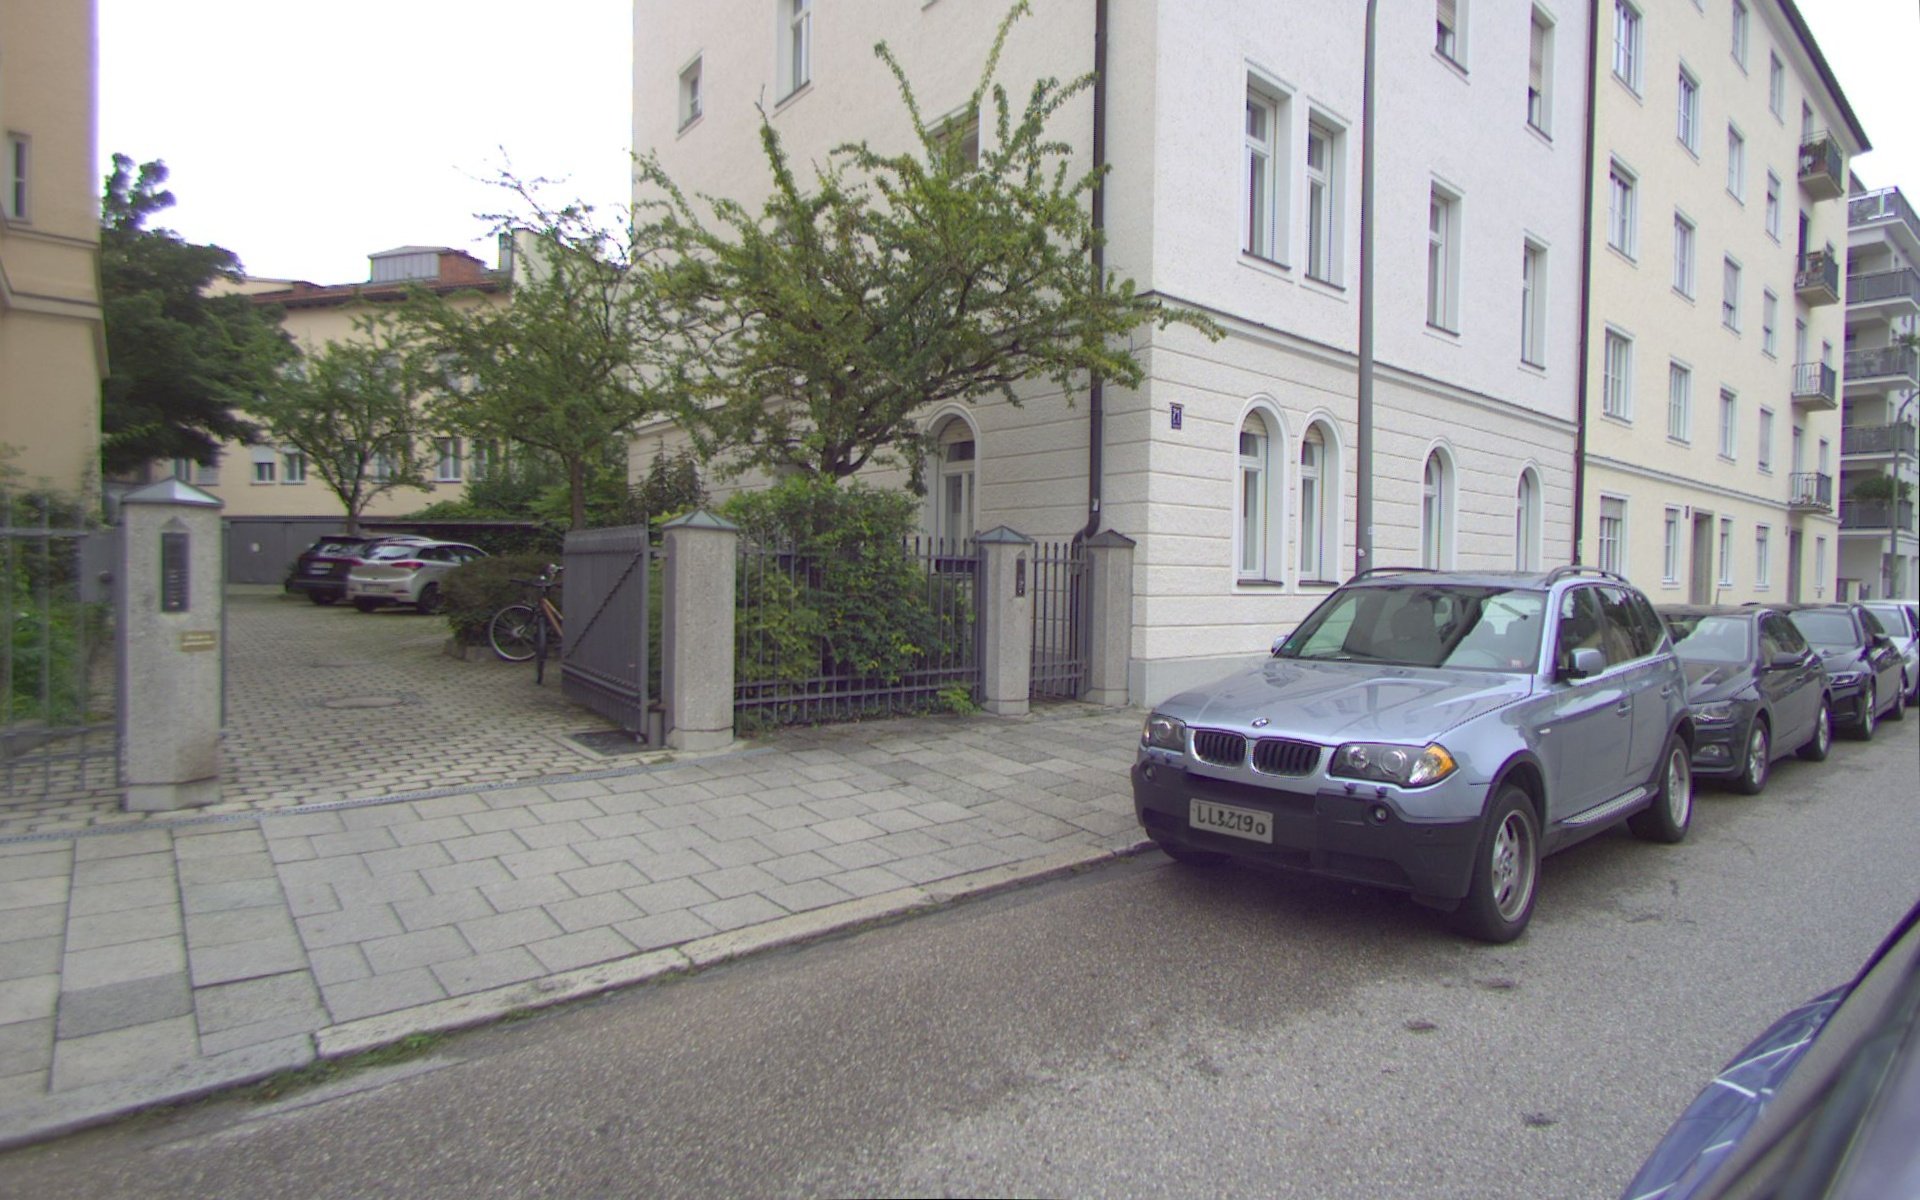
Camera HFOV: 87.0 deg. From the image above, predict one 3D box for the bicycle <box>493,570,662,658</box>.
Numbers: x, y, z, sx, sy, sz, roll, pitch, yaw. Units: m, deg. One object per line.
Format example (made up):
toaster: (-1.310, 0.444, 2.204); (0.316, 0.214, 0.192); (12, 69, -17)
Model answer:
bicycle: (-4.810, 0.146, 12.799); (1.916, 1.027, 0.581); (-1, 1, -35)

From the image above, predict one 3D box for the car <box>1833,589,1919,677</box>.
car: (18.053, 0.564, 19.248); (4.096, 1.500, 1.682); (-1, 2, -42)

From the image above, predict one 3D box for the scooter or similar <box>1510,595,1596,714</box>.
scooter or similar: (6.337, 0.545, 10.800); (1.153, 1.178, 0.485); (-1, 1, -43)

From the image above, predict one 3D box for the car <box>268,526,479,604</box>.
car: (-13.253, -0.824, 23.214); (1.904, 1.567, 4.231); (2, 2, 11)

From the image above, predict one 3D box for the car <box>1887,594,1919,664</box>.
car: (21.712, 0.603, 22.108); (4.366, 1.427, 1.682); (-1, 2, -41)

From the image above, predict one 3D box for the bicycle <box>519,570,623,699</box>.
bicycle: (-3.959, 0.292, 10.219); (0.570, 1.107, 1.880); (0, 4, -34)

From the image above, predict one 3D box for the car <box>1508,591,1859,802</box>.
car: (6.646, 0.667, 9.136); (4.016, 1.445, 1.682); (-1, 2, -41)

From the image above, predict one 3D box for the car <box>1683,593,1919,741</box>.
car: (10.402, 0.666, 12.341); (4.316, 1.445, 1.682); (-1, 2, -42)

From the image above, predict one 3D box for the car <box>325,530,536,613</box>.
car: (-11.041, -0.637, 21.483); (1.754, 1.533, 4.231); (2, 2, 11)

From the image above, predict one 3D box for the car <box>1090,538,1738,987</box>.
car: (2.862, 0.558, 5.828); (4.380, 1.654, 1.725); (-1, 2, -41)

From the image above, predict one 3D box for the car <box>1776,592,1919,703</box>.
car: (14.096, 0.633, 15.642); (4.096, 1.445, 1.682); (-1, 2, -42)
